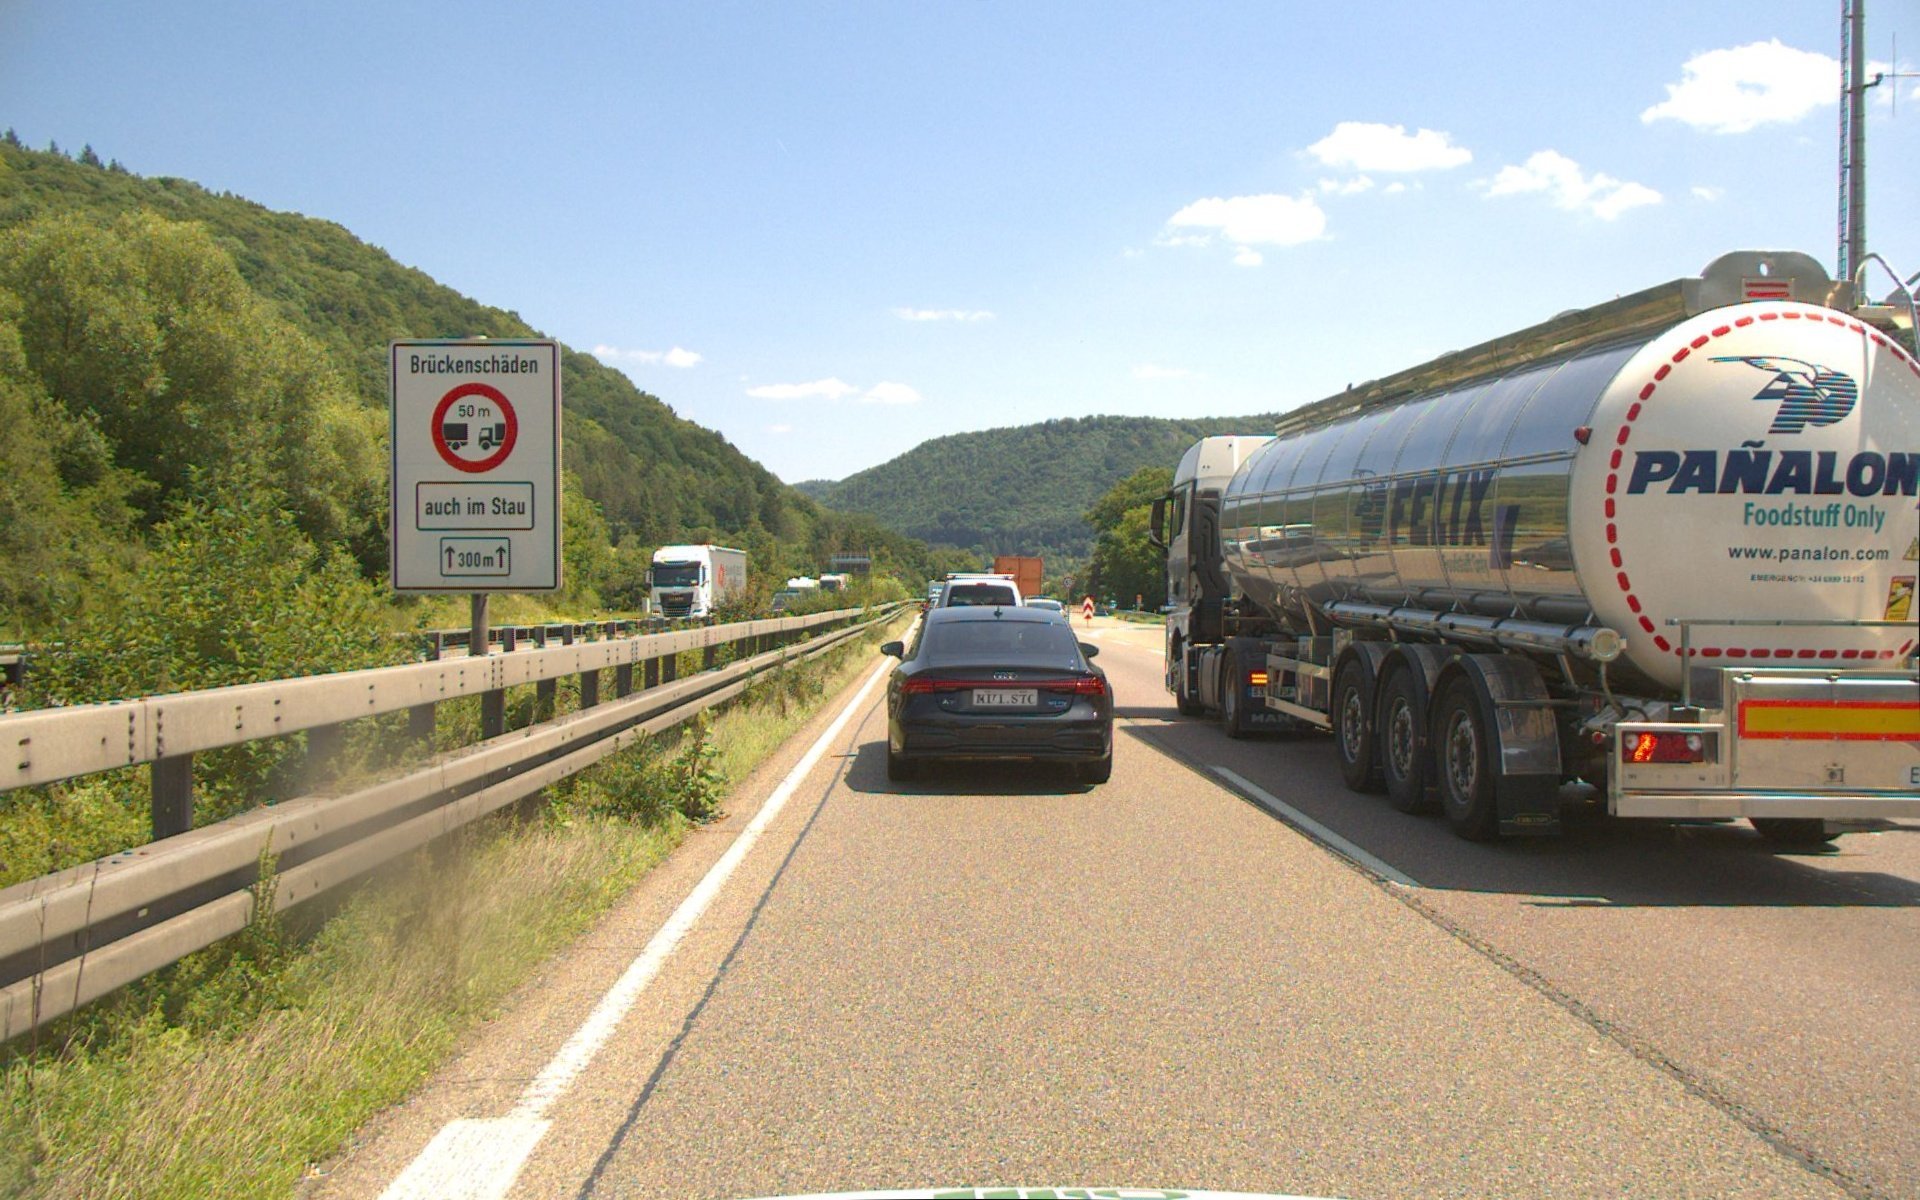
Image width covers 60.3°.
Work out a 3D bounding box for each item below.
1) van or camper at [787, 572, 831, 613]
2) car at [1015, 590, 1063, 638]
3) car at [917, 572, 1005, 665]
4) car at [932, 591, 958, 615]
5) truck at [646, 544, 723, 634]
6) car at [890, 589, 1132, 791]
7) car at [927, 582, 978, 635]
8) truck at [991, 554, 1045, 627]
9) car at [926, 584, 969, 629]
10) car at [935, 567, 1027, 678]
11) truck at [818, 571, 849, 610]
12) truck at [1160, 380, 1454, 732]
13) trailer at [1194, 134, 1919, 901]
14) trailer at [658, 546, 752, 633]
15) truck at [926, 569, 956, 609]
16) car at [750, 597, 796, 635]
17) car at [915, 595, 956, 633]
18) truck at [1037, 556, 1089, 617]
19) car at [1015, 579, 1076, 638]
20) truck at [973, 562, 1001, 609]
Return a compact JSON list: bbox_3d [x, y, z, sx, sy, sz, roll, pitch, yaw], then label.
[{"bbox_3d":[-12.776,-0.637,140.332,2.536,3.394,7.652,0,0,4],"label":"van or camper"},{"bbox_3d":[3.441,0.611,72.832,1.952,2.038,4.000,0,0,0],"label":"car"},{"bbox_3d":[-0.003,0.400,38.716,1.953,2.049,3.999,1,0,-1],"label":"car"},{"bbox_3d":[-1.001,0.183,113.754,1.677,1.647,4.000,0,0,0],"label":"car"},{"bbox_3d":[-12.889,-0.499,77.719,2.672,4.071,5.369,-1,0,-1],"label":"truck"},{"bbox_3d":[0.300,0.680,14.570,1.812,1.514,4.080,1,0,-3],"label":"car"},{"bbox_3d":[-0.334,0.312,66.044,1.953,2.049,3.999,0,0,-1],"label":"car"},{"bbox_3d":[3.376,-0.546,100.392,2.760,4.073,14.954,1,0,0],"label":"truck"},{"bbox_3d":[-0.605,0.292,76.851,1.953,2.049,3.999,0,0,-1],"label":"car"},{"bbox_3d":[0.330,0.380,30.017,1.544,1.865,3.999,1,0,-1],"label":"car"},{"bbox_3d":[-13.710,-1.043,180.162,2.811,4.076,10.168,1,0,-1],"label":"truck"},{"bbox_3d":[4.111,-0.484,20.693,2.460,3.824,5.244,1,0,-1],"label":"truck"},{"bbox_3d":[4.234,-0.414,14.189,2.487,3.801,11.888,1,0,-1],"label":"trailer"},{"bbox_3d":[-12.945,-0.502,85.176,2.726,4.070,14.157,1,0,-1],"label":"trailer"},{"bbox_3d":[-1.646,-0.966,149.596,2.575,3.501,11.419,0,0,0],"label":"truck"},{"bbox_3d":[-9.411,0.784,83.459,1.883,1.828,4.599,1,0,-2],"label":"car"},{"bbox_3d":[-1.063,0.590,73.339,1.677,1.647,4.000,0,0,0],"label":"car"},{"bbox_3d":[7.205,-0.918,117.563,2.760,4.073,14.954,1,0,0],"label":"truck"},{"bbox_3d":[3.047,0.294,59.839,1.953,2.049,3.999,0,0,-1],"label":"car"},{"bbox_3d":[2.076,-1.077,130.607,1.953,3.507,11.809,1,0,0],"label":"truck"}]
